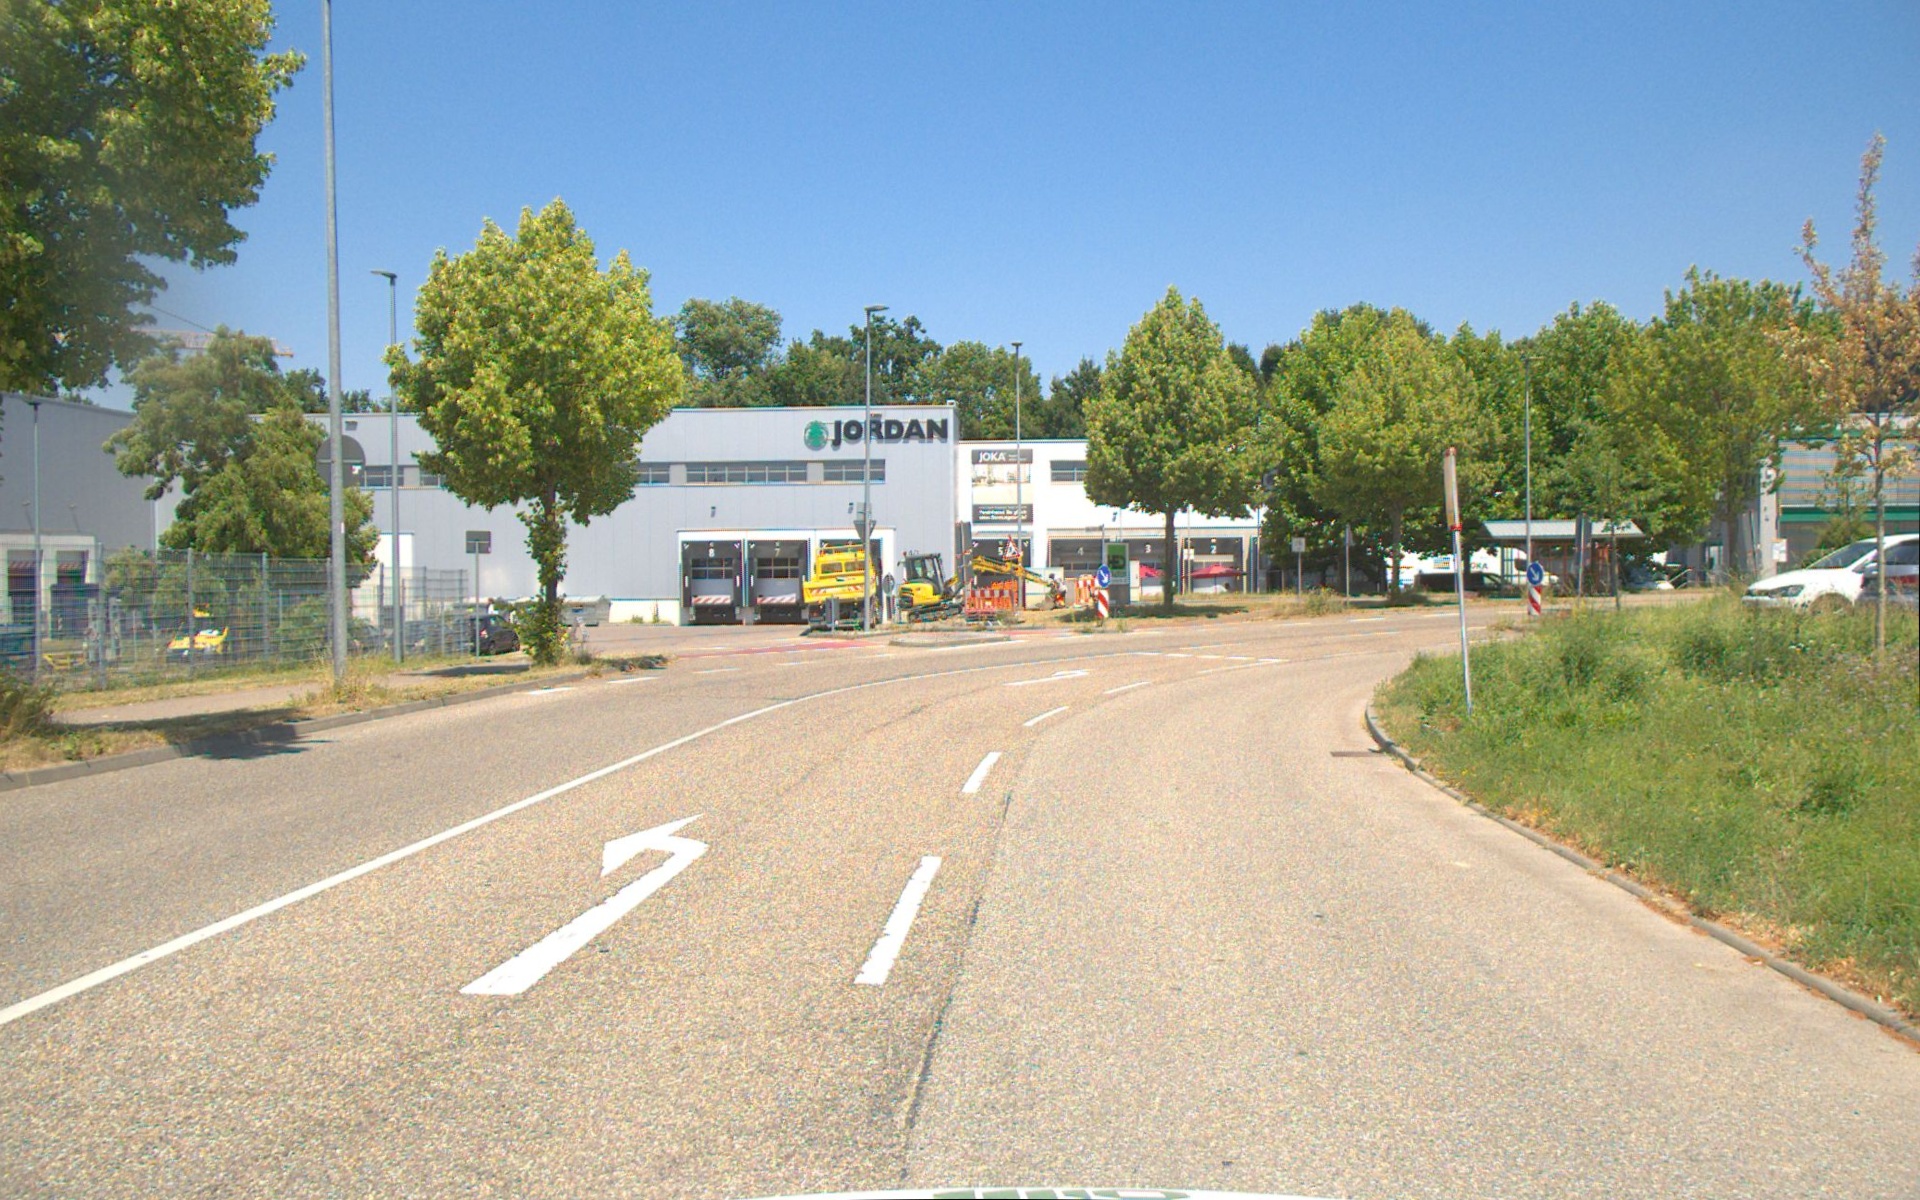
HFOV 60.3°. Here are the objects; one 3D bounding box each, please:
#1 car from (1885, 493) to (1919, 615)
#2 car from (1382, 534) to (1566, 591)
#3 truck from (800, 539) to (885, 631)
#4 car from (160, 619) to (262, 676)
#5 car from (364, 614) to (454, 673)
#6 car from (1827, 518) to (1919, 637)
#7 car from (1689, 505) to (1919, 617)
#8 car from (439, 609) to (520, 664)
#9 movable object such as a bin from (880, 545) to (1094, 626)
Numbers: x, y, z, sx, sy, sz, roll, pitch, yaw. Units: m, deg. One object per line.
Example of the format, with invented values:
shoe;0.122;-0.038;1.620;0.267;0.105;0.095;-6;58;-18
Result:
car;13.400;-0.608;19.454;4.078;1.424;1.769;-2;4;-1
car;21.348;-1.541;68.909;7.020;2.124;2.001;-2;0;6
truck;-4.418;-0.628;61.404;2.882;2.935;5.805;-3;4;-5
car;-27.075;1.697;59.930;1.954;1.578;3.999;-3;4;-4
car;-19.303;1.490;58.111;1.954;1.578;3.999;-3;4;-4
car;14.091;-0.391;22.110;4.078;1.424;1.769;-2;4;-1
car;13.255;-0.622;24.563;4.078;1.424;1.769;-2;4;-1
car;-17.551;1.307;60.620;1.954;1.578;3.999;-3;4;-4
movable object such as a bin;1.071;-0.551;61.526;7.365;2.542;3.671;-2;4;11
